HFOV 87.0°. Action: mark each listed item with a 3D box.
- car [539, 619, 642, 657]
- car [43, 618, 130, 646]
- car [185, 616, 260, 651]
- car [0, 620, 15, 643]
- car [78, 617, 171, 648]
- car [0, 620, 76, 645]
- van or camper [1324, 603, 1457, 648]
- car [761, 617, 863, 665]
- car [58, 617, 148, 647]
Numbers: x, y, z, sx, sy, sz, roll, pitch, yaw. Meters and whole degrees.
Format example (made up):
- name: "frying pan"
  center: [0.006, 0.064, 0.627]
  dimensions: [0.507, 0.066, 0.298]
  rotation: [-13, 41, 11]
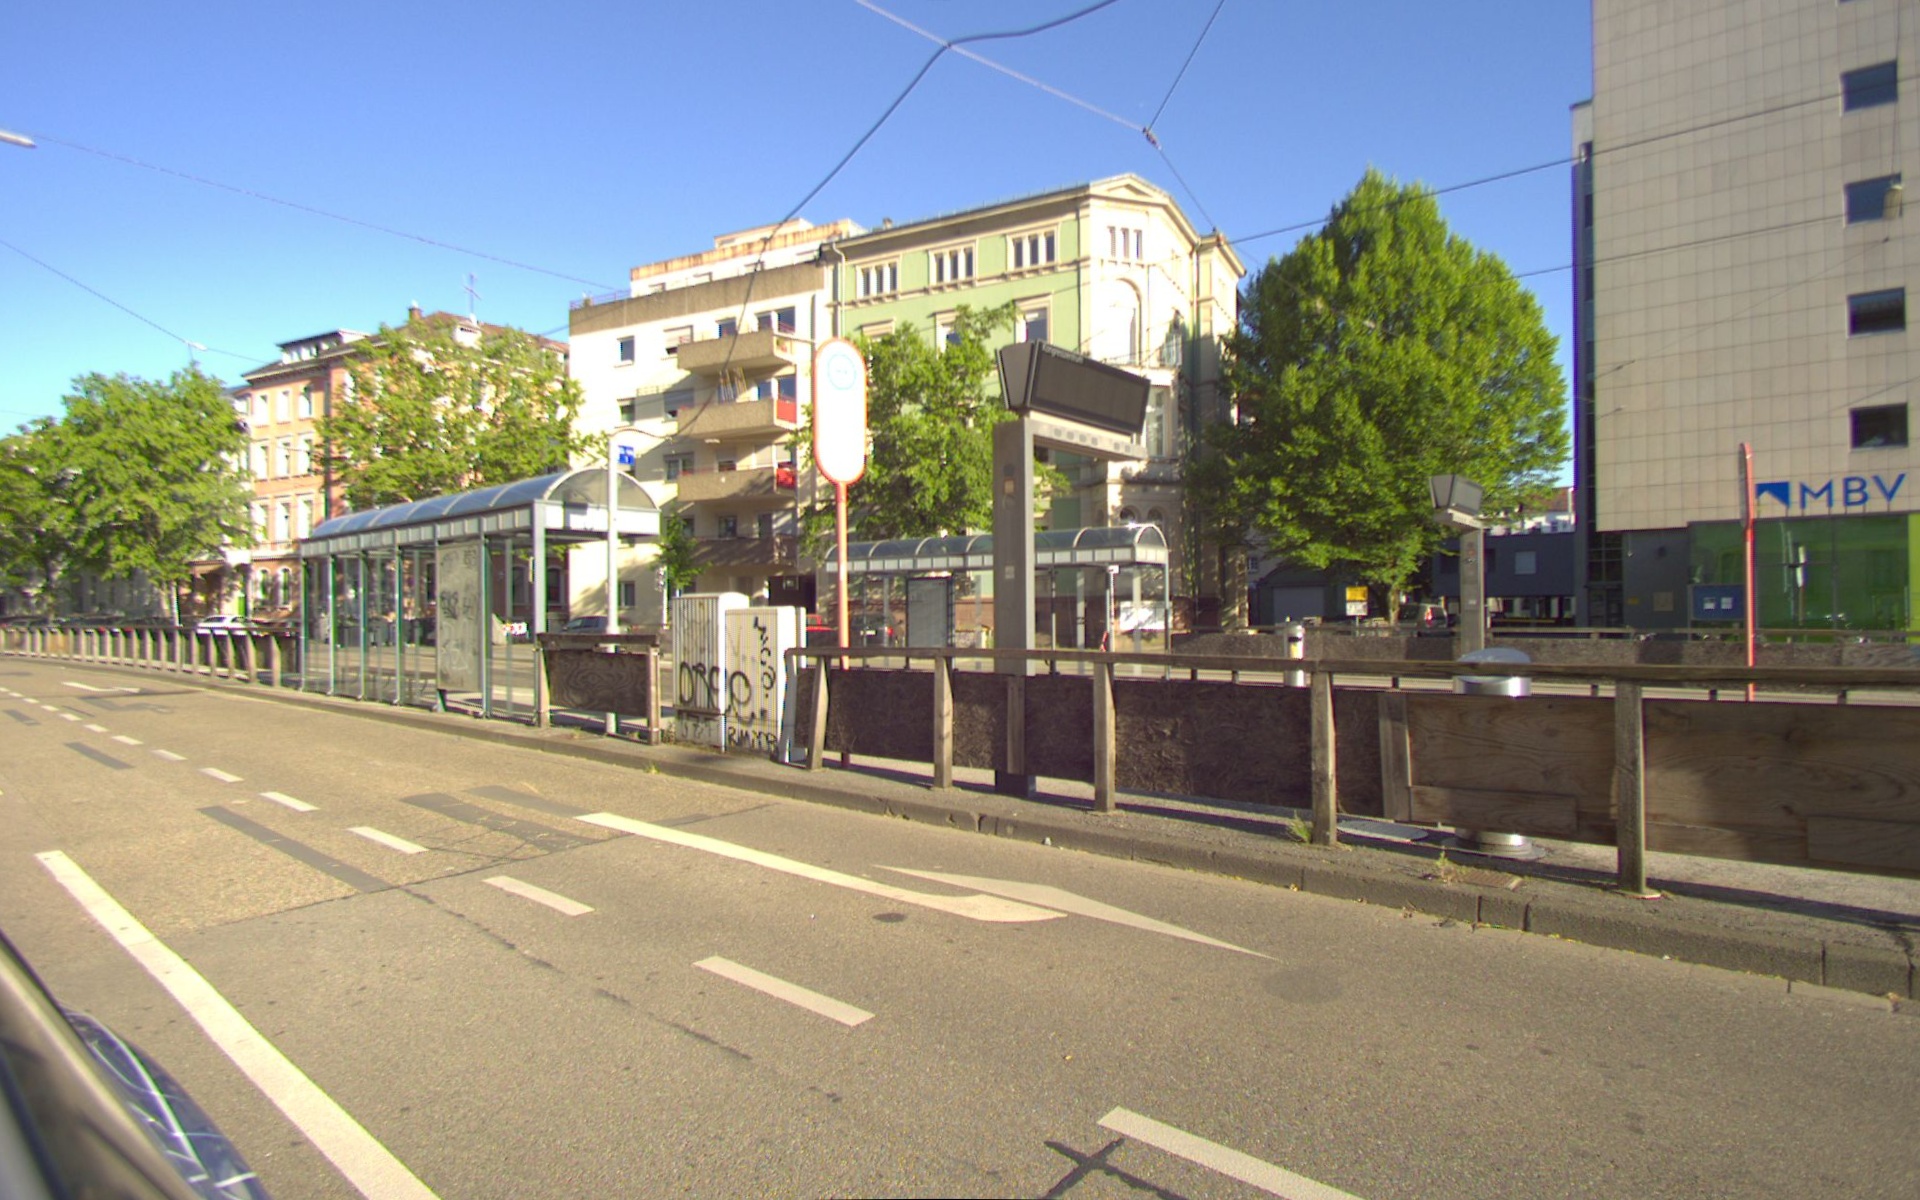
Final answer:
- name: "car"
  center: [-14.006, 1.423, 38.392]
  dimensions: [3.498, 1.406, 1.602]
  rotation: [-1, -2, 22]
- name: "car"
  center: [-54.305, 1.946, 62.955]
  dimensions: [2.001, 1.697, 3.942]
  rotation: [-2, -2, 44]
- name: "car"
  center: [-39.525, 1.764, 54.372]
  dimensions: [1.966, 1.736, 4.012]
  rotation: [0, 0, -15]
- name: "car"
  center: [-68.104, 2.205, 70.110]
  dimensions: [2.001, 1.604, 3.812]
  rotation: [-2, -2, 44]
- name: "car"
  center: [-47.981, 1.837, 58.153]
  dimensions: [2.001, 1.697, 3.942]
  rotation: [-2, -2, 44]
- name: "car"
  center: [-59.615, 2.072, 65.266]
  dimensions: [3.811, 1.604, 2.001]
  rotation: [1, -2, -45]
- name: "van or camper"
  center: [15.502, 0.895, 36.545]
  dimensions: [3.998, 1.417, 1.943]
  rotation: [2, 0, 41]
- name: "car"
  center: [-5.005, 1.374, 34.687]
  dimensions: [1.763, 1.547, 3.763]
  rotation: [-1, -2, 23]
- name: "car"
  center: [-51.298, 1.900, 60.626]
  dimensions: [2.001, 1.697, 3.942]
  rotation: [-2, -2, 44]
